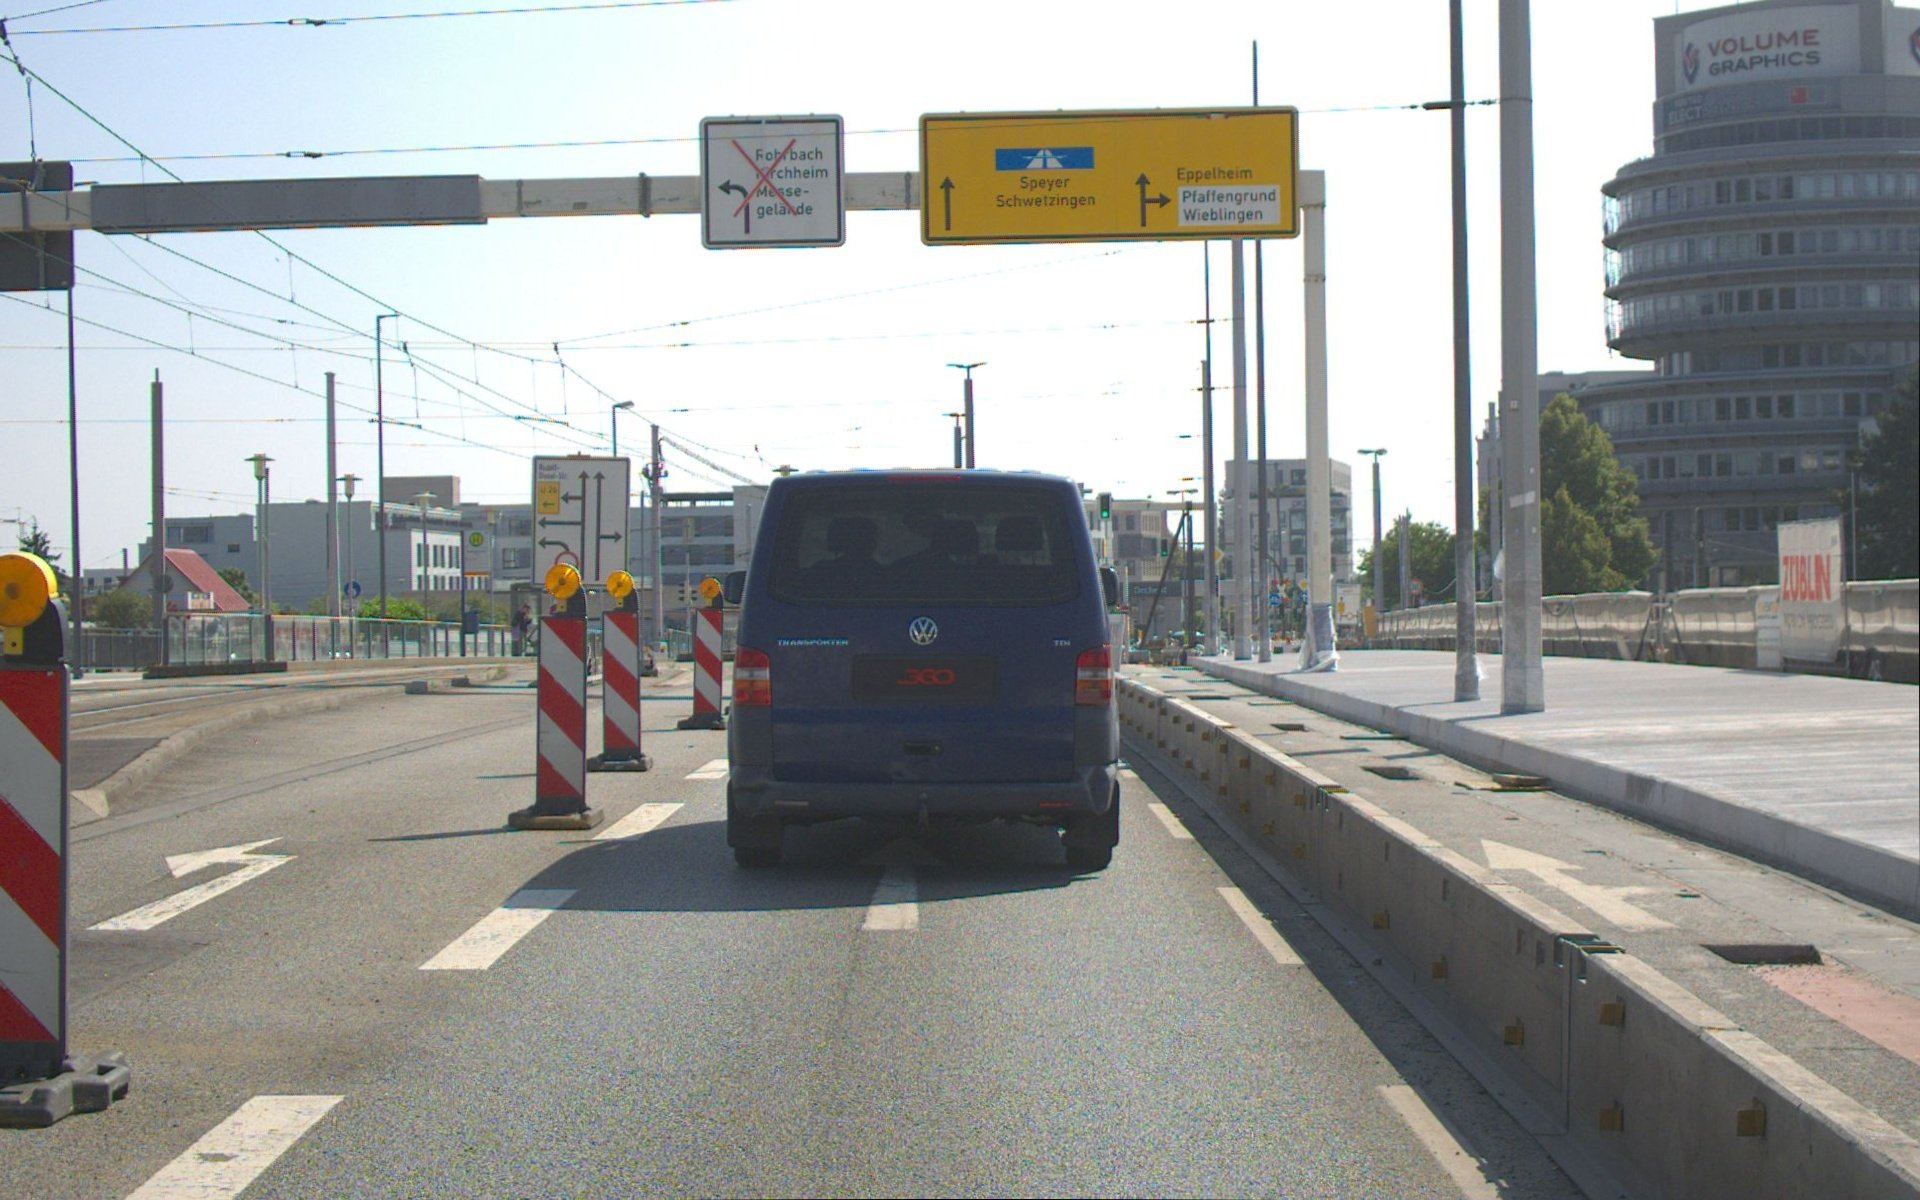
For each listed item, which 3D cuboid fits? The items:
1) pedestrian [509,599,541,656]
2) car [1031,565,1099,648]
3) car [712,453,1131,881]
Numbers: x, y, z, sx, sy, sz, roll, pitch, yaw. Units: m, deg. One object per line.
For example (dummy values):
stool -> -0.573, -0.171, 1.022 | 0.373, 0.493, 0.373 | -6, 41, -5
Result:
pedestrian -> -12.574, 0.794, 99.363 | 0.660, 1.649, 0.739 | -1, 0, 14
car -> 3.746, 0.213, 123.899 | 2.339, 2.877, 5.970 | 1, 0, 1
car -> -0.194, 0.300, 17.719 | 1.888, 1.927, 4.000 | 1, 0, 0
